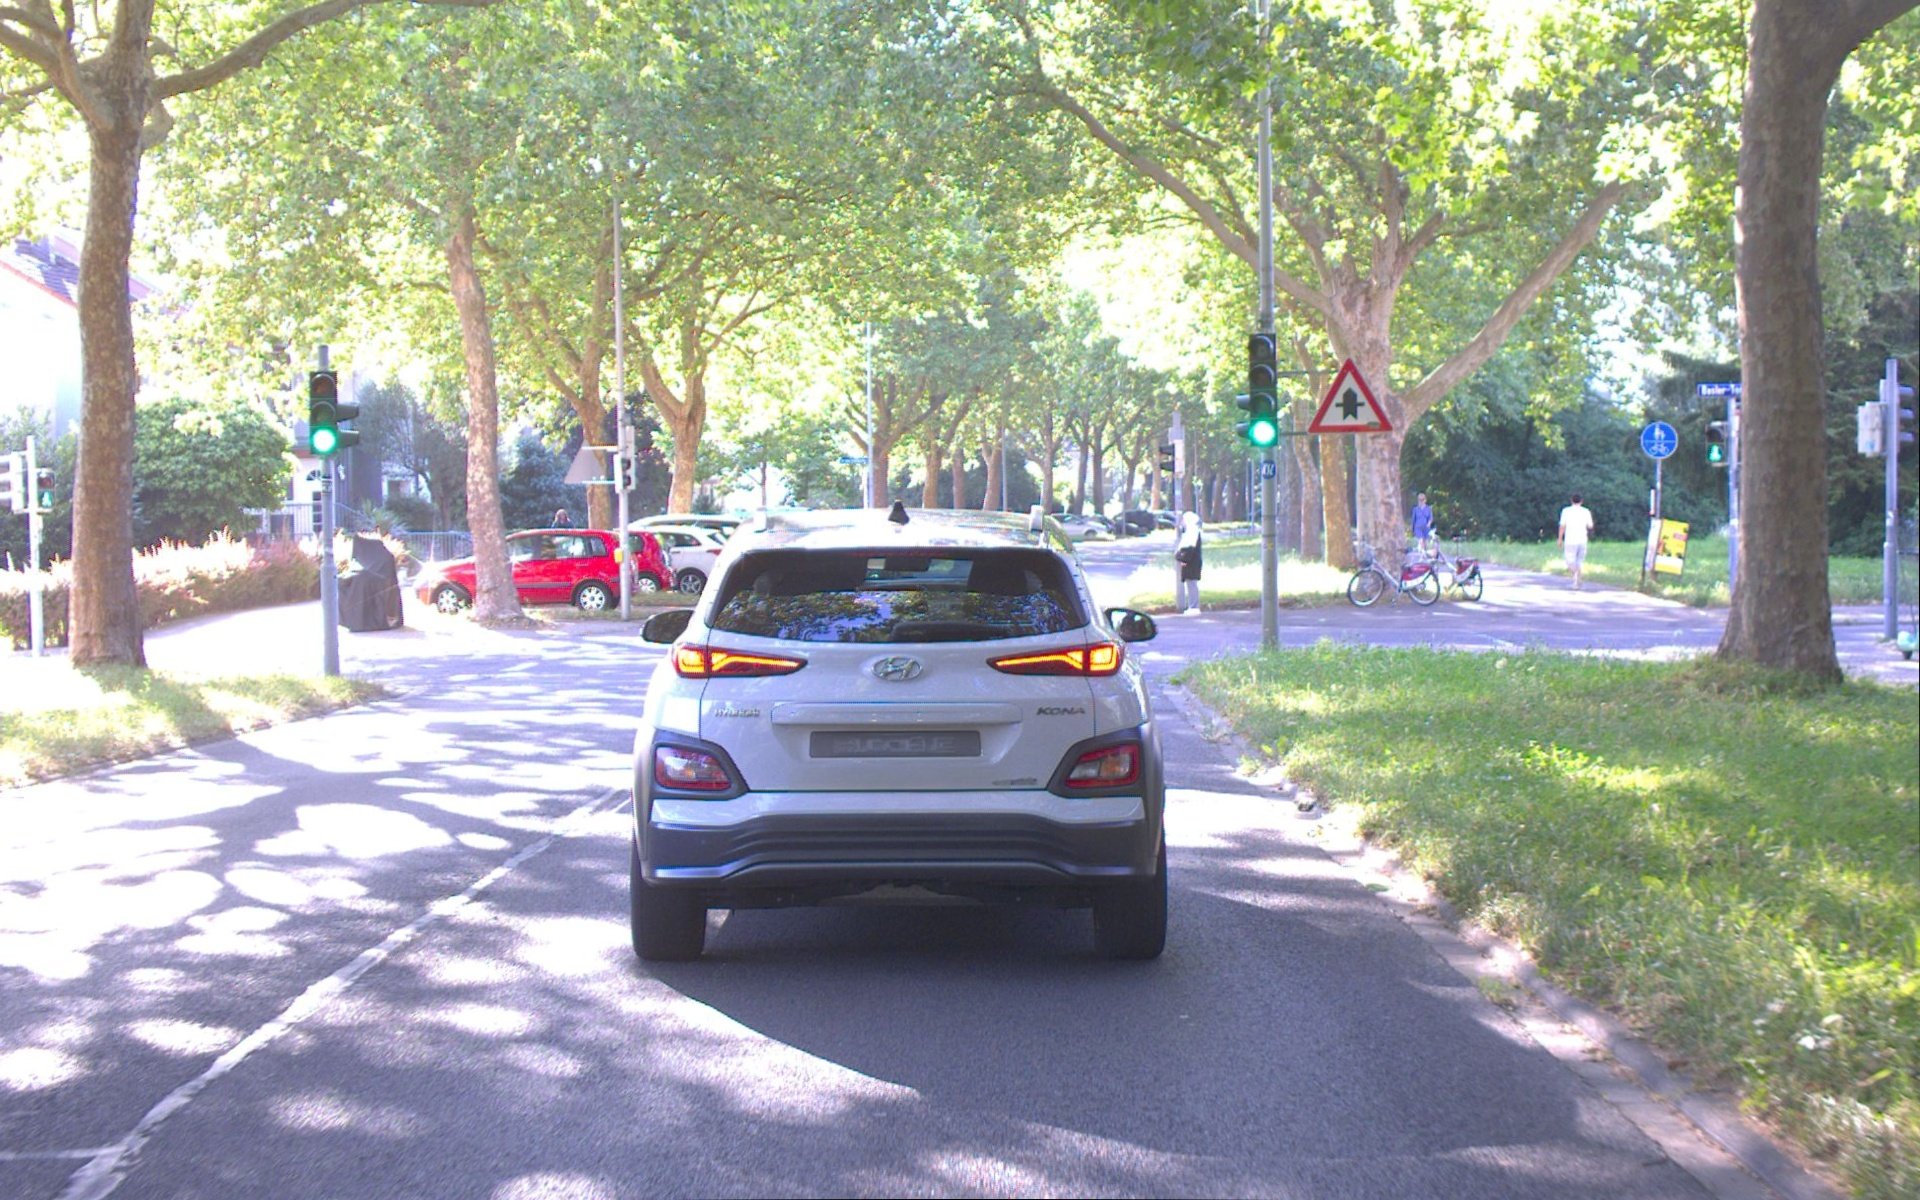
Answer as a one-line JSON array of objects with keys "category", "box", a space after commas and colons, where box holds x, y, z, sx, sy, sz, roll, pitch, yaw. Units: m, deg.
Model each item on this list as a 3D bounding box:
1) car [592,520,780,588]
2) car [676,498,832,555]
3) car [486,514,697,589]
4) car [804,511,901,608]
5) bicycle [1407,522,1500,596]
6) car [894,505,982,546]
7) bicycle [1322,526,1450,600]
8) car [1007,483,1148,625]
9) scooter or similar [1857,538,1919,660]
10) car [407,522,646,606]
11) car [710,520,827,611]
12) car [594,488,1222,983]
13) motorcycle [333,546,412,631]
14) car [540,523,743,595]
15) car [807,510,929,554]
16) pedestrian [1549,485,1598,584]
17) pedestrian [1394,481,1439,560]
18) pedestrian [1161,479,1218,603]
[{"category": "car", "box": [-6.050, -1.016, 76.235, 3.987, 1.473, 2.000, 0, 1, 1]}, {"category": "car", "box": [-5.435, -1.937, 91.006, 3.987, 1.473, 2.000, 0, 1, 1]}, {"category": "car", "box": [-7.377, -0.977, 69.045, 3.987, 1.473, 2.000, 0, 1, 1]}, {"category": "car", "box": [-2.102, -0.805, 67.970, 1.791, 1.875, 4.000, 0, 1, 0]}, {"category": "bicycle", "box": [7.976, -0.662, 55.674, 0.603, 1.179, 2.119, 0, 1, -19]}, {"category": "car", "box": [-0.980, -3.330, 152.778, 3.668, 1.802, 1.749, 0, 1, -8]}, {"category": "bicycle", "box": [6.788, -0.597, 54.910, 0.603, 1.160, 2.149, -1, 1, -43]}, {"category": "car", "box": [1.733, -0.705, 51.485, 1.993, 2.007, 4.000, -1, 1, 1]}, {"category": "scooter or similar", "box": [10.094, -0.027, 36.554, 0.549, 1.254, 2.313, 0, 1, 1]}, {"category": "car", "box": [-7.722, -0.650, 61.474, 3.987, 1.473, 2.000, 0, 1, 1]}, {"category": "car", "box": [-3.160, -0.594, 57.205, 1.688, 1.432, 3.682, 0, 2, 1]}, {"category": "car", "box": [-0.168, 0.396, 12.916, 1.993, 1.569, 4.000, 0, 1, 0]}, {"category": "motorcycle", "box": [-9.707, -0.211, 56.882, 0.846, 1.374, 2.777, 0, 1, 0]}, {"category": "car", "box": [-6.580, -0.855, 71.344, 3.987, 1.473, 2.000, 0, 1, 2]}, {"category": "car", "box": [-3.056, -2.266, 114.838, 3.987, 1.473, 2.000, 0, 1, 1]}, {"category": "pedestrian", "box": [10.775, -1.147, 60.383, 0.834, 1.730, 0.885, 0, 1, 9]}, {"category": "pedestrian", "box": [11.884, -2.081, 89.532, 1.095, 2.007, 1.105, -2, 1, 7]}, {"category": "pedestrian", "box": [3.775, -0.969, 56.432, 0.868, 2.007, 0.813, 0, 1, 9]}]
